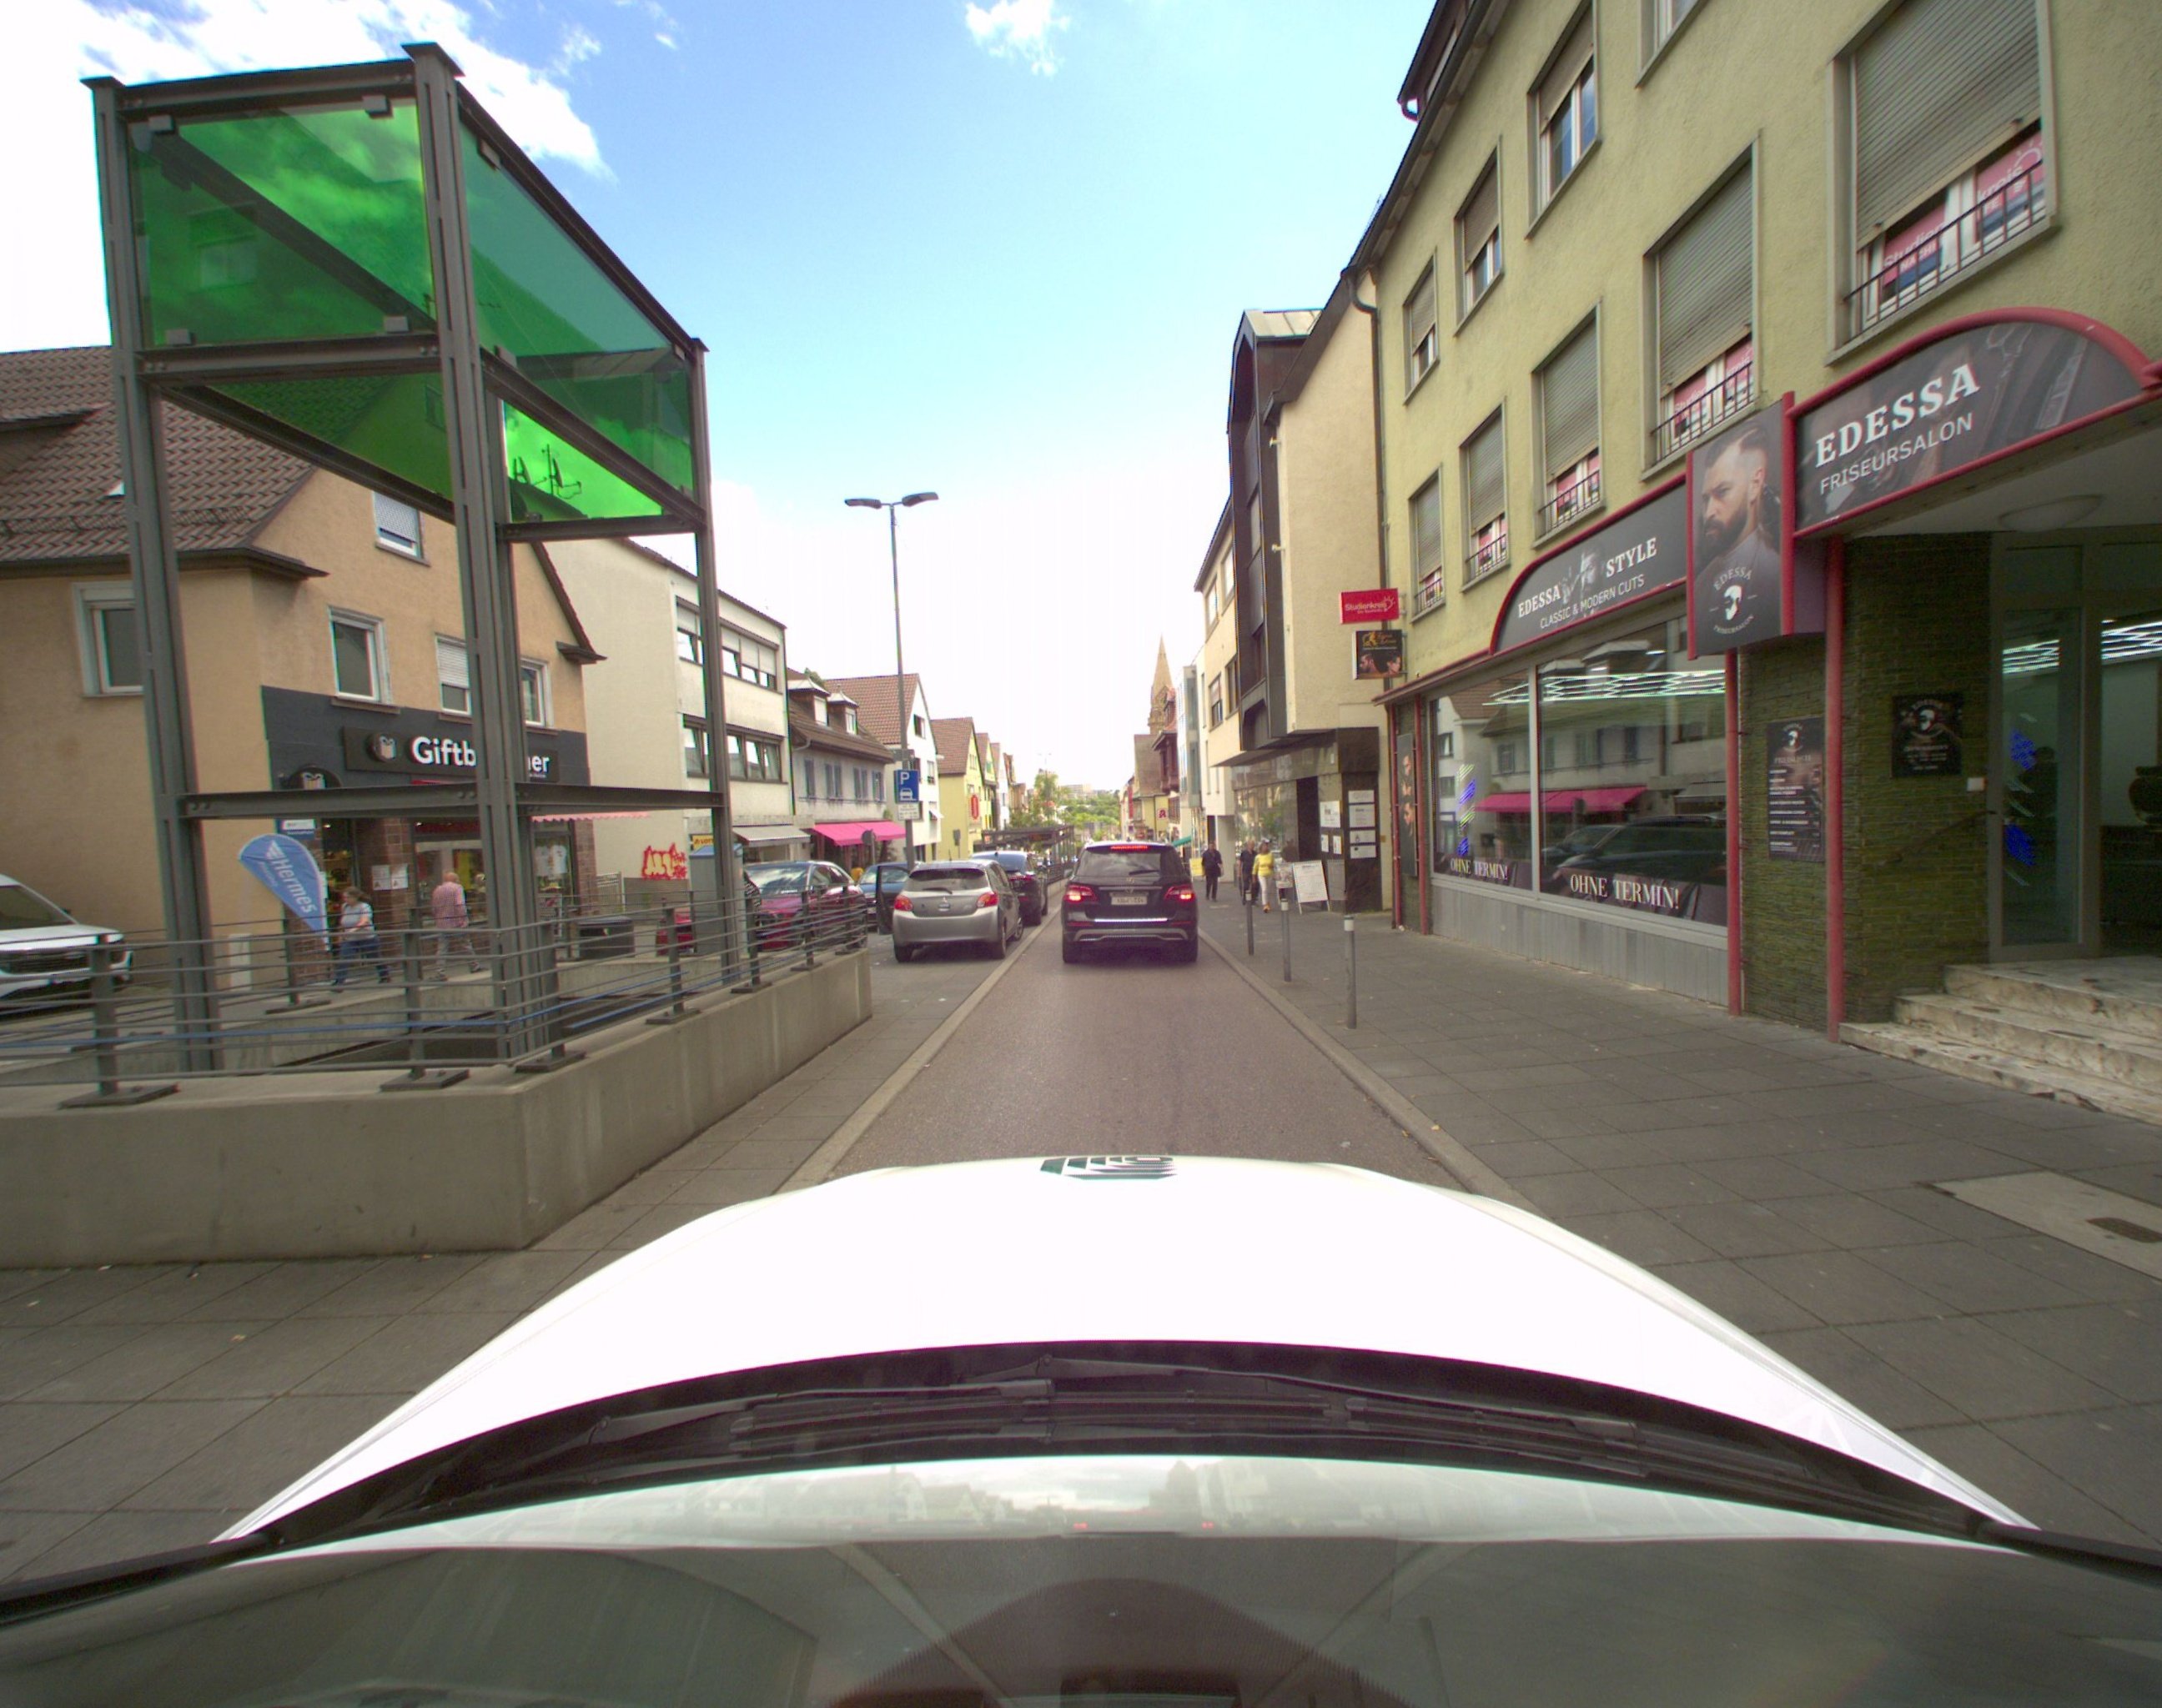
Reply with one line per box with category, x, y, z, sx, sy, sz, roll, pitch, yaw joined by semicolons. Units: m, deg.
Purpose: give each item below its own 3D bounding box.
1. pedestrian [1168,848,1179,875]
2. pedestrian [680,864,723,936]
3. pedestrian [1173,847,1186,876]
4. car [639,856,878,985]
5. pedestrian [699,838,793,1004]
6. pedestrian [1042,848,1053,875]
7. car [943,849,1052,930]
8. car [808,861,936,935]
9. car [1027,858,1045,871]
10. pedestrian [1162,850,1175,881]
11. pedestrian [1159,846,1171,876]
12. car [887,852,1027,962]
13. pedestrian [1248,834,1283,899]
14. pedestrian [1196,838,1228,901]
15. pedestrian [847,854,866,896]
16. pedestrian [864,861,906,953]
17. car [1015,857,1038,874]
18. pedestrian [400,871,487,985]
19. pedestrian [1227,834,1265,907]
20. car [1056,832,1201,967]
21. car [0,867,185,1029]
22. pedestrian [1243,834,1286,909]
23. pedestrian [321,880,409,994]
pedestrian;5.746;0.471;50.425;0.572;1.689;0.565;-1;-1;-5
pedestrian;-9.315;1.114;19.995;0.638;1.689;0.670;-2;1;41
pedestrian;5.964;0.464;49.466;0.572;1.689;0.565;-4;0;-5
car;-4.454;0.816;12.004;1.732;1.543;4.194;-1;0;2
pedestrian;-3.554;0.676;8.704;0.531;1.672;0.902;-2;0;4
pedestrian;-2.125;0.464;51.580;0.608;1.689;0.564;-1;-1;7
car;-1.795;0.736;18.924;1.949;1.639;4.316;-1;0;2
car;-4.615;0.919;18.574;1.732;1.475;3.886;-1;0;2
car;-5.058;1.167;92.354;1.654;1.490;3.749;-1;0;2
pedestrian;4.826;0.610;45.003;0.620;1.689;0.565;-1;-1;-5
pedestrian;4.966;0.425;48.050;0.541;1.726;0.527;-3;0;-5
car;-1.865;0.752;13.293;1.614;1.532;3.671;-1;0;2
pedestrian;5.087;0.340;22.458;0.662;1.689;0.542;-6;0;-5
pedestrian;3.815;0.453;23.776;0.708;1.753;0.787;-4;0;1
pedestrian;-9.182;0.870;33.358;0.576;1.689;0.577;-2;0;1
pedestrian;-3.188;0.852;13.274;0.464;1.431;0.492;-4;0;1
car;-5.022;1.040;75.204;1.683;1.490;3.981;-1;0;2
pedestrian;-9.881;1.122;12.642;0.636;1.689;0.829;-2;0;6
pedestrian;4.146;0.398;20.502;0.708;1.753;0.785;-4;0;1
car;0.626;0.607;12.665;1.894;1.747;3.999;-1;0;0
car;-14.809;1.194;10.700;4.053;1.873;1.885;-2;0;3
pedestrian;4.208;0.395;18.724;0.708;1.631;0.835;-4;0;1
pedestrian;-10.628;1.211;12.109;0.563;1.573;0.717;-4;0;1
